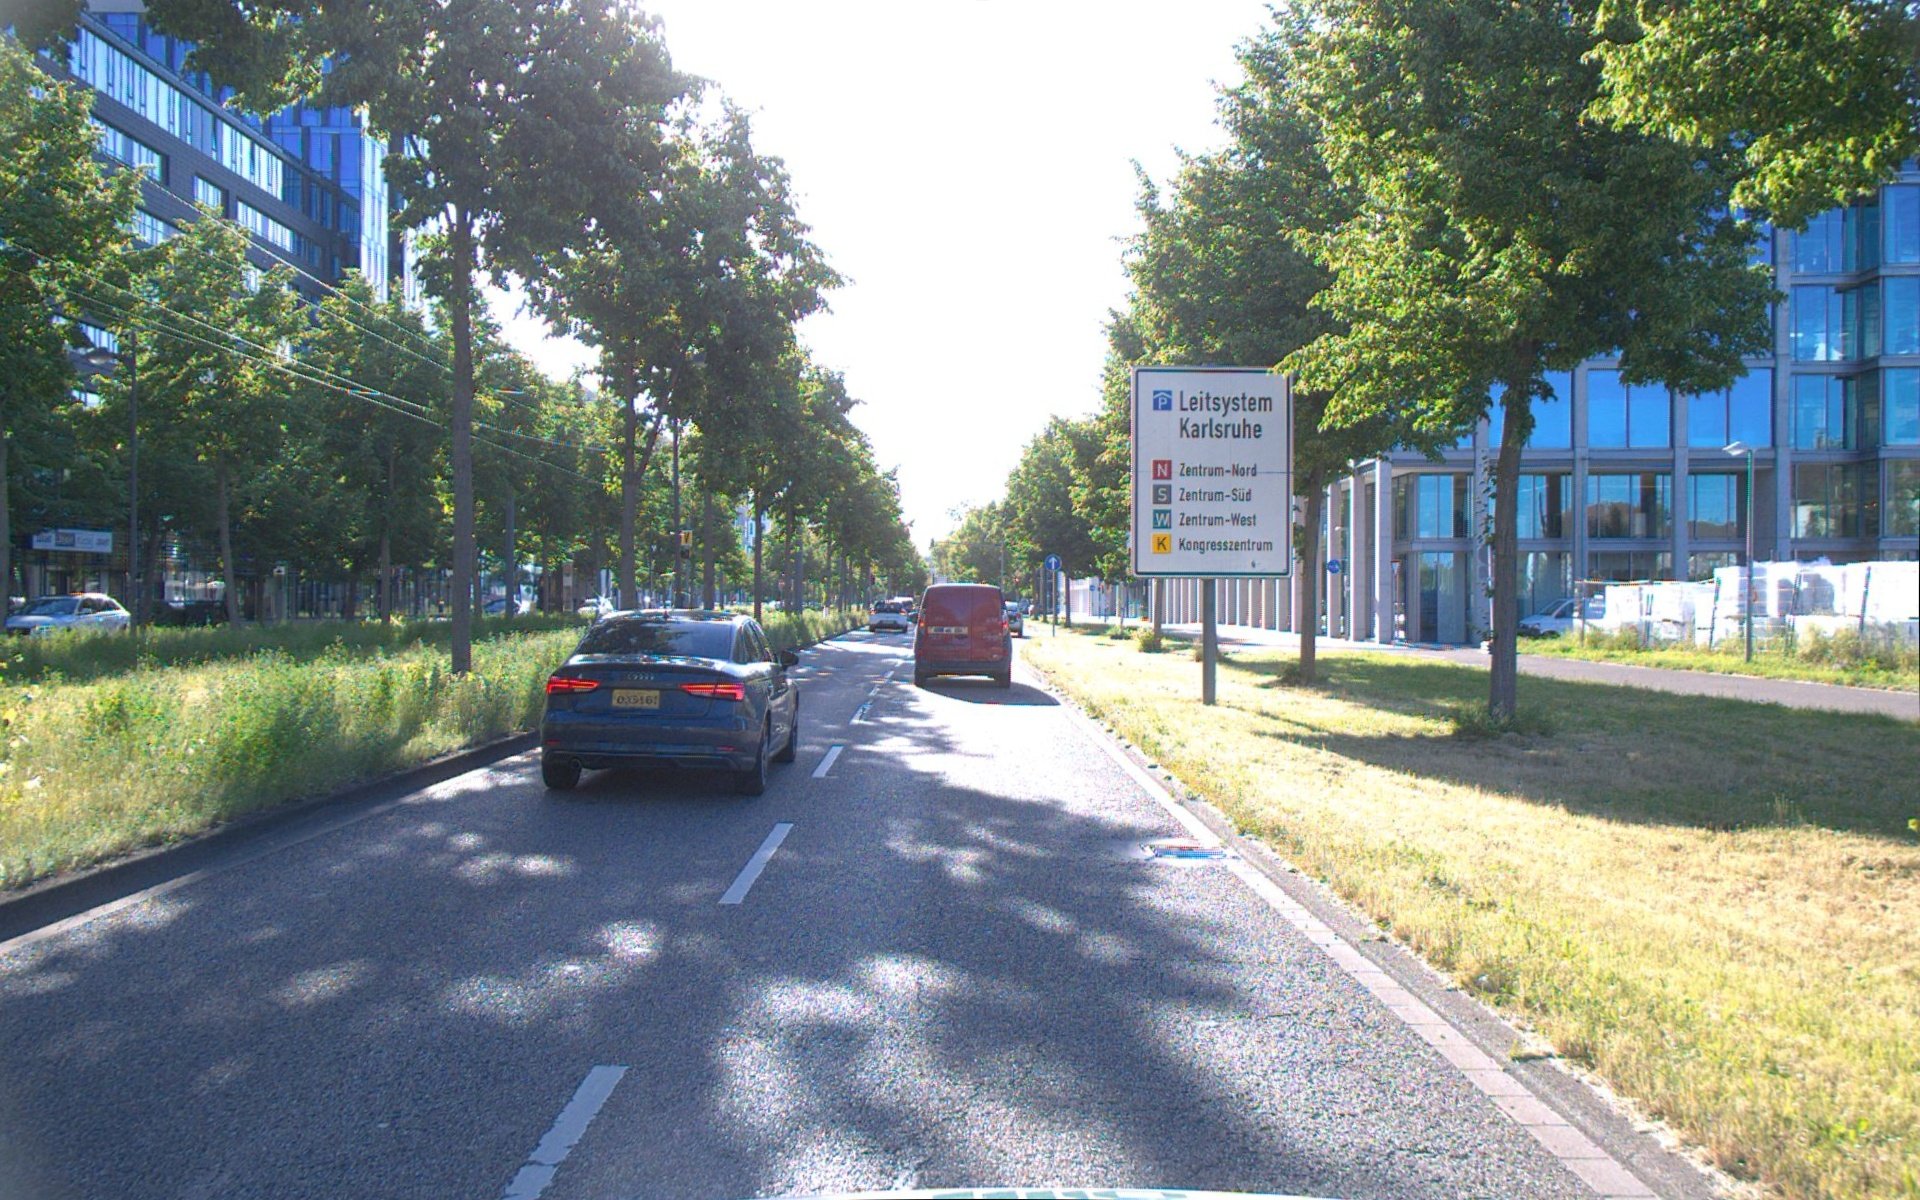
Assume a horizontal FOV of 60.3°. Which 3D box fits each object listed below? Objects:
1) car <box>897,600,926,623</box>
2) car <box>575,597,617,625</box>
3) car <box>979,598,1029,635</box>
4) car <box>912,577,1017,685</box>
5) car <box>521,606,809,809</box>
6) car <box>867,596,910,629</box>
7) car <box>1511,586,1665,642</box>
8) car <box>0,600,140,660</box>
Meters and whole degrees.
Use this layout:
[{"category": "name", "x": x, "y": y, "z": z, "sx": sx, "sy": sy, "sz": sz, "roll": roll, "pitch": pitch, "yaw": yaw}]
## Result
[{"category": "car", "x": -3.357, "y": 0.783, "z": 114.981, "sx": 1.805, "sy": 1.561, "sz": 3.940, "roll": 0, "pitch": 0, "yaw": 0}, {"category": "car", "x": -23.158, "y": 0.684, "z": 105.476, "sx": 1.761, "sy": 1.718, "sz": 4.320, "roll": 1, "pitch": 1, "yaw": -1}, {"category": "car", "x": 1.933, "y": 0.701, "z": 73.158, "sx": 1.688, "sy": 1.450, "sz": 3.812, "roll": 2, "pitch": 1, "yaw": -6}, {"category": "car", "x": 0.036, "y": 0.536, "z": 30.487, "sx": 1.761, "sy": 1.808, "sz": 3.999, "roll": 2, "pitch": 0, "yaw": -1}, {"category": "car", "x": -2.306, "y": 0.780, "z": 13.957, "sx": 1.686, "sy": 1.390, "sz": 4.145, "roll": 2, "pitch": 0, "yaw": -1}, {"category": "car", "x": -3.295, "y": 0.557, "z": 76.242, "sx": 1.903, "sy": 1.466, "sz": 3.998, "roll": 0, "pitch": 0, "yaw": -3}, {"category": "car", "x": 23.177, "y": 0.507, "z": 61.166, "sx": 4.960, "sy": 2.016, "sz": 1.939, "roll": 0, "pitch": 0, "yaw": 3}, {"category": "car", "x": -22.545, "y": 0.726, "z": 41.589, "sx": 1.761, "sy": 1.314, "sz": 4.310, "roll": -1, "pitch": 1, "yaw": -1}]
